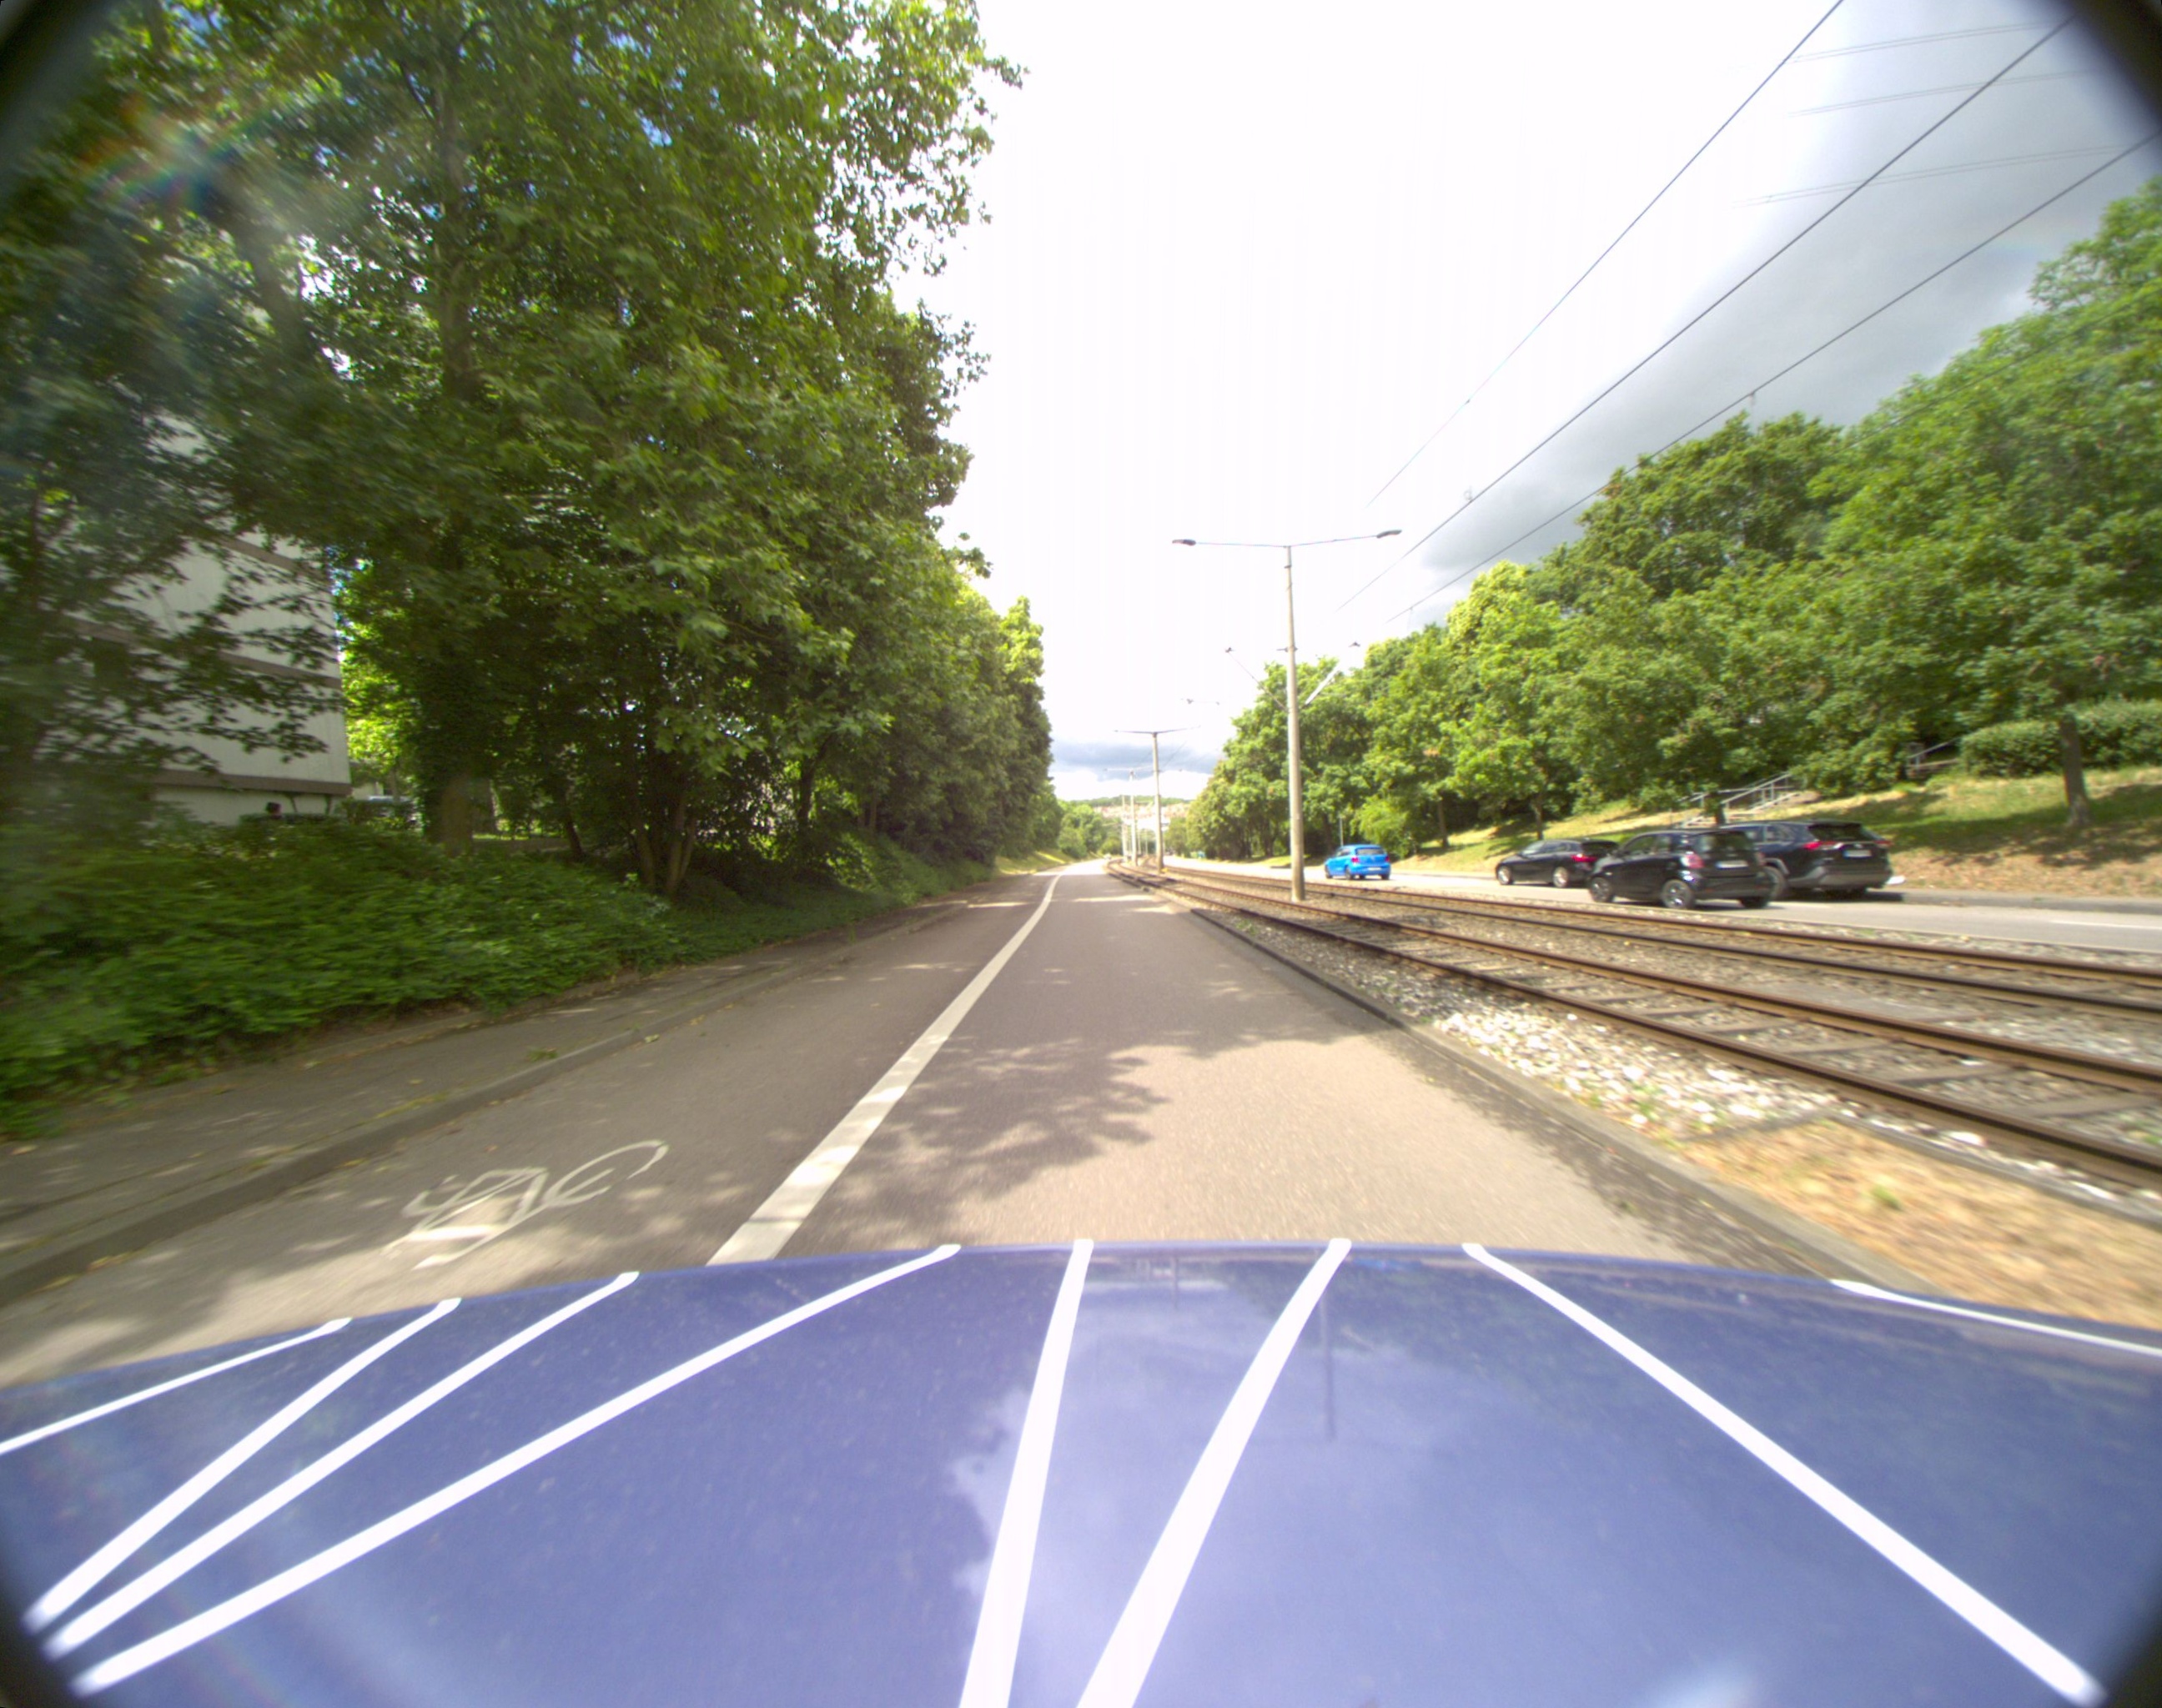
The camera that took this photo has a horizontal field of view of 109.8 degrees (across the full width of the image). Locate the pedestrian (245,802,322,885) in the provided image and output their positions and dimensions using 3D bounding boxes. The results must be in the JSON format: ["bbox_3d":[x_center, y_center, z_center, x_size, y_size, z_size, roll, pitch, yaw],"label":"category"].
[{"bbox_3d":[-16.122,-0.208,15.386,0.670,1.623,0.768,-2,1,1],"label":"pedestrian"}]

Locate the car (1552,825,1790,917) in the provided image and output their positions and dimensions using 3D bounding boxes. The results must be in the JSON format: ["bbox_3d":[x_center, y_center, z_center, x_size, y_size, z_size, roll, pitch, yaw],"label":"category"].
[{"bbox_3d":[11.541,0.296,15.226,1.720,1.555,3.696,-2,0,-4],"label":"car"}]

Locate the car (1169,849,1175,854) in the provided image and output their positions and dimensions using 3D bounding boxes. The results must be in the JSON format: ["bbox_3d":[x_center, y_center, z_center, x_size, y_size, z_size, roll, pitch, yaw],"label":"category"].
[{"bbox_3d":[29.613,-0.825,247.267,1.840,1.383,4.863,0,0,4],"label":"car"}]

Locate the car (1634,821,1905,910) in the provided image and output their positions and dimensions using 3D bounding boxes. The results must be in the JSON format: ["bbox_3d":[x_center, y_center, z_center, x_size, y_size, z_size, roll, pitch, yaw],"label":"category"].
[{"bbox_3d":[14.525,0.180,16.447,1.779,1.620,4.380,-1,1,-2],"label":"car"}]

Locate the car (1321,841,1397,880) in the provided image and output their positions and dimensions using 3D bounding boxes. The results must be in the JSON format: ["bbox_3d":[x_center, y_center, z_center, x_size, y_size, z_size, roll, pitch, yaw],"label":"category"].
[{"bbox_3d":[11.453,0.250,31.570,1.720,1.433,3.942,-2,0,0],"label":"car"}]

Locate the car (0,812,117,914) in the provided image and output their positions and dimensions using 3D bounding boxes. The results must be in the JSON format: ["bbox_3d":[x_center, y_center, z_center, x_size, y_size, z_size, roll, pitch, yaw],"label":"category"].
[{"bbox_3d":[-16.240,0.146,10.325,1.662,1.451,3.548,-1,0,1],"label":"car"}]

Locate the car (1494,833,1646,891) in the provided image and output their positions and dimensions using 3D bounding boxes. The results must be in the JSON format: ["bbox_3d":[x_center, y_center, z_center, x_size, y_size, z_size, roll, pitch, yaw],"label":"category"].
[{"bbox_3d":[14.309,0.203,22.541,1.779,1.490,3.996,-2,0,-2],"label":"car"}]
